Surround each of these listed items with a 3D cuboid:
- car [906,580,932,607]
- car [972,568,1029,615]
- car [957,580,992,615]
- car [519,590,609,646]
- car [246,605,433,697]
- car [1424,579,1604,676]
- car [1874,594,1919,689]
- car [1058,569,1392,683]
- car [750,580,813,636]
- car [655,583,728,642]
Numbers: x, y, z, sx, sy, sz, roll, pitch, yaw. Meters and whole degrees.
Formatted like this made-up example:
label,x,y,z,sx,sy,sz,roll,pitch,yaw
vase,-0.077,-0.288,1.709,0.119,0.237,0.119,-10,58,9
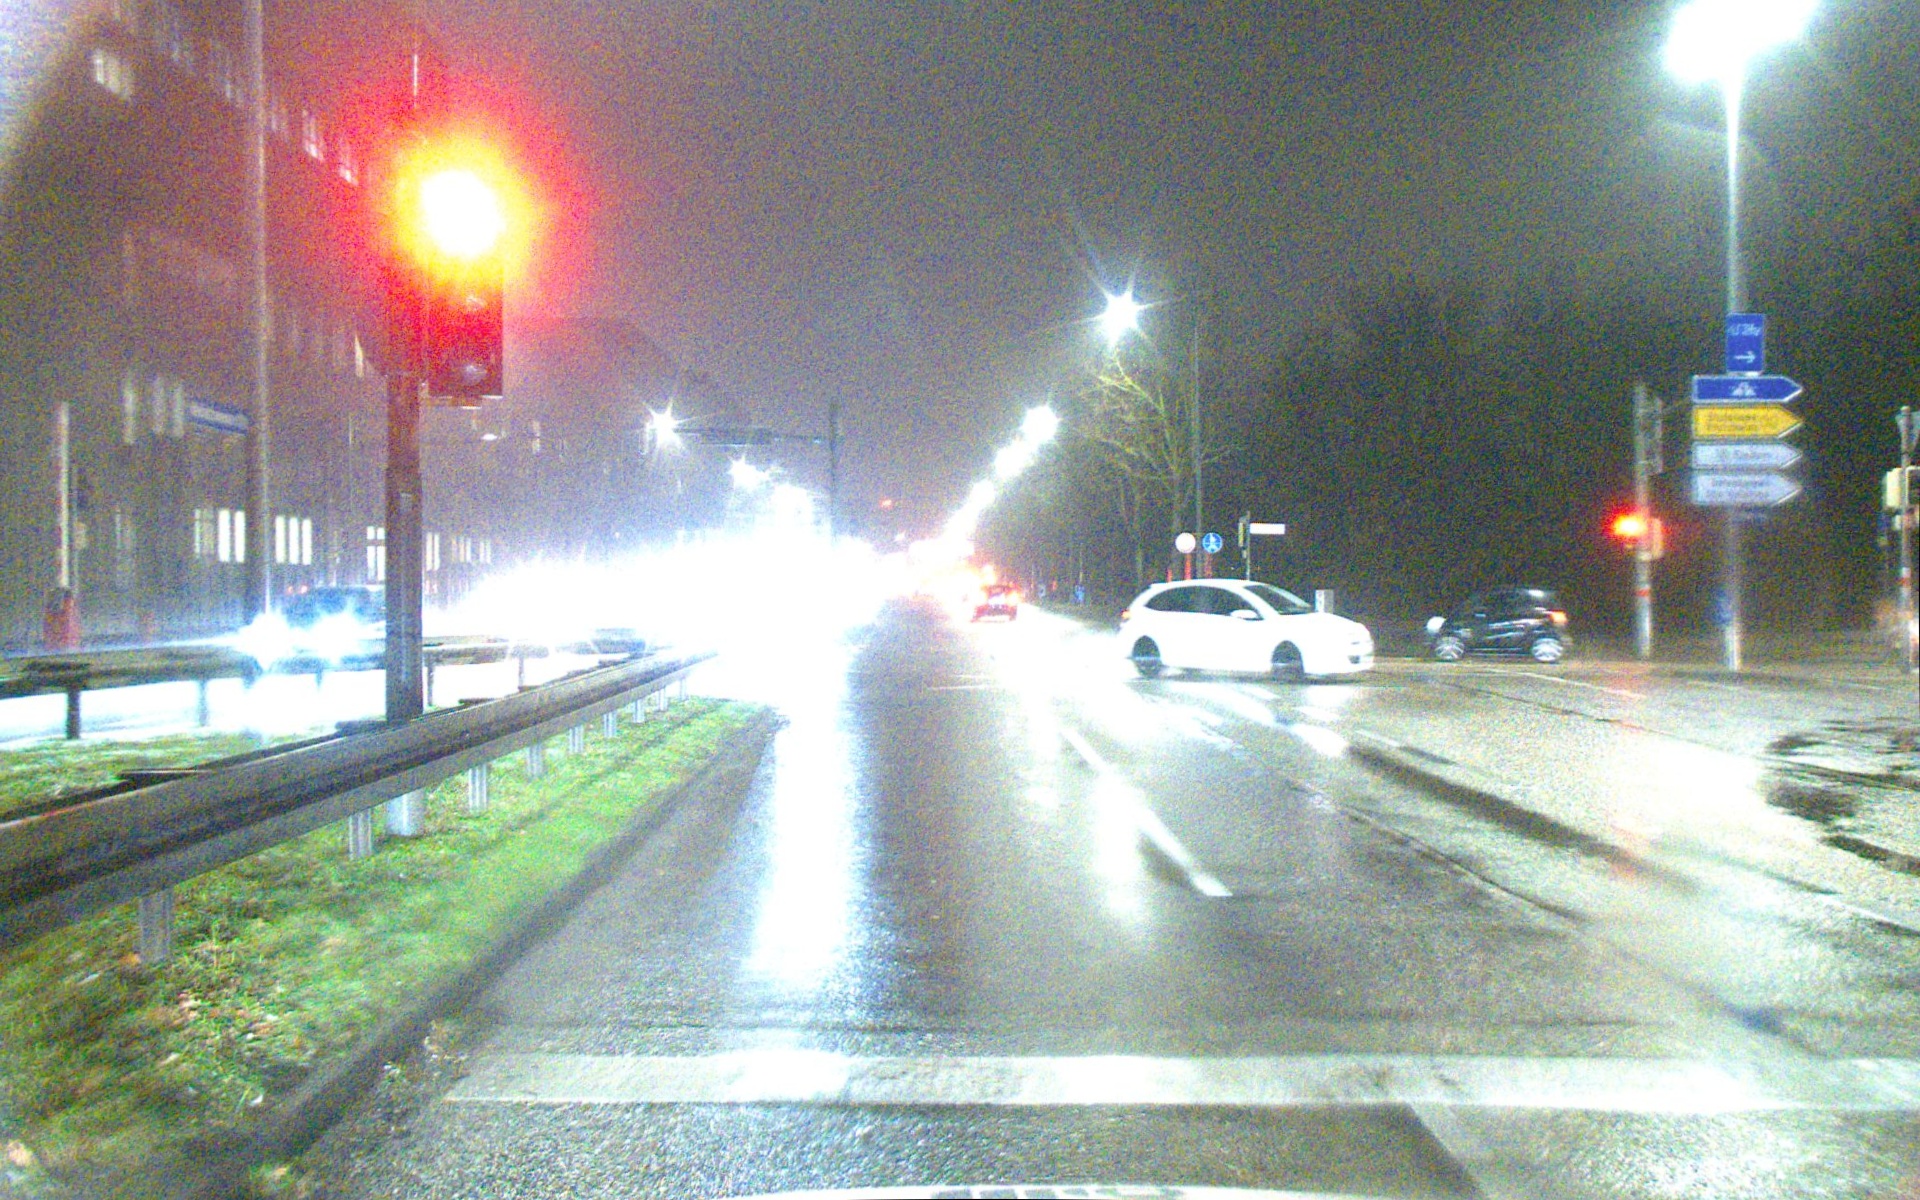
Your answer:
label,x,y,z,sx,sy,sz,roll,pitch,yaw
car,-3.149,-0.463,127.077,1.953,2.049,3.999,0,0,-1
car,1.604,-0.319,66.837,1.865,1.811,3.995,0,0,-5
car,0.937,-0.157,108.532,2.163,2.253,3.642,0,-1,-1
car,-11.958,0.536,50.159,1.734,1.597,4.330,-1,0,-1
car,-11.424,0.898,30.797,1.847,1.579,4.432,0,0,-1
car,11.080,0.537,33.265,3.345,1.870,1.688,0,-1,17
car,20.110,0.789,31.548,4.247,1.785,1.985,0,-1,4
car,4.109,0.378,26.070,4.872,1.638,1.992,0,-1,37
car,-6.708,0.299,62.498,1.953,2.049,3.999,-1,0,-1
car,-8.761,0.411,54.175,1.746,1.847,3.999,-1,0,-1
